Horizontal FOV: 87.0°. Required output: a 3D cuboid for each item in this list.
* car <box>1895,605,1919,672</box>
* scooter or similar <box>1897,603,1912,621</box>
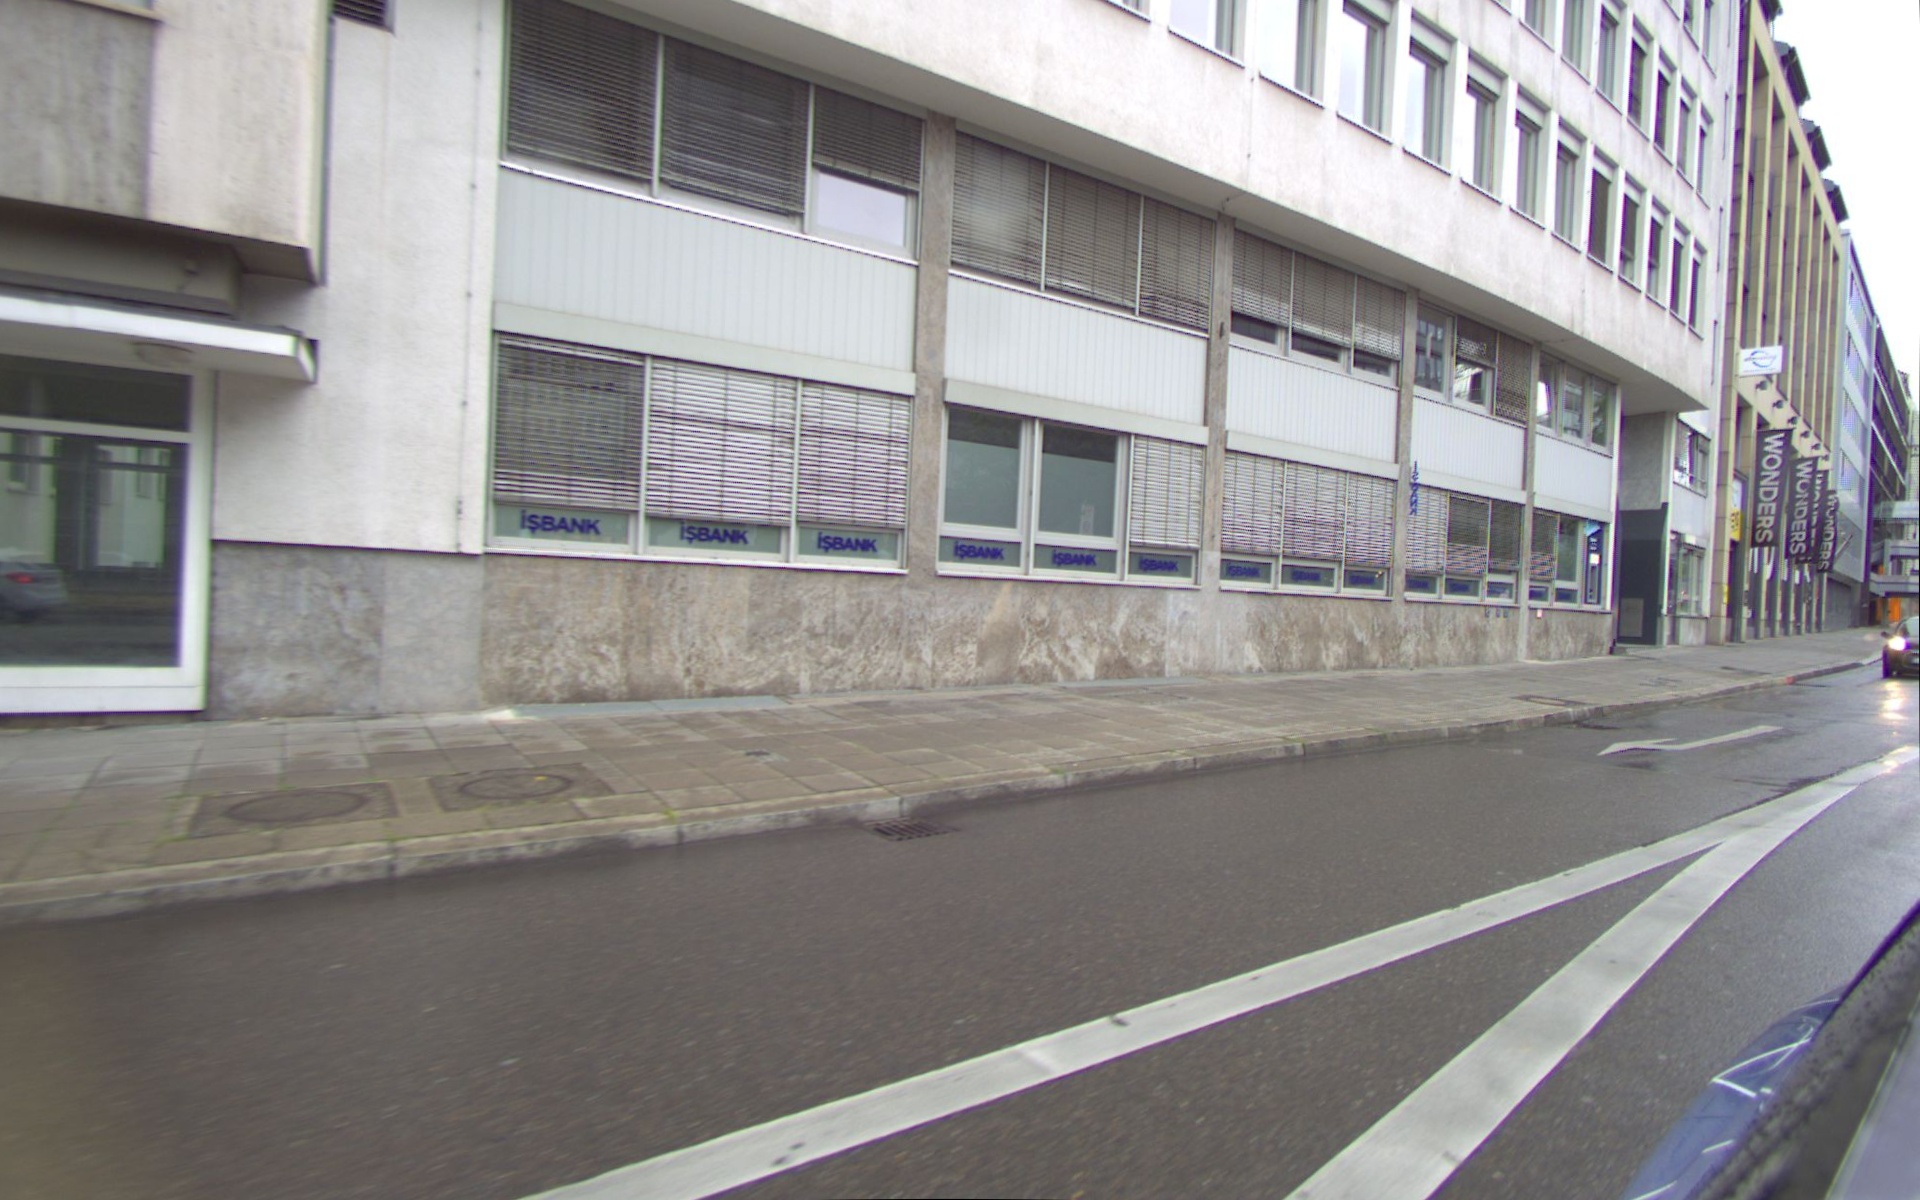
[{"bbox_3d":[22.936,0.886,23.442,3.425,1.491,1.664,1,0,-44],"label":"car"},{"bbox_3d":[69.666,0.856,74.650,0.468,1.289,1.294,1,0,29],"label":"scooter or similar"}]
